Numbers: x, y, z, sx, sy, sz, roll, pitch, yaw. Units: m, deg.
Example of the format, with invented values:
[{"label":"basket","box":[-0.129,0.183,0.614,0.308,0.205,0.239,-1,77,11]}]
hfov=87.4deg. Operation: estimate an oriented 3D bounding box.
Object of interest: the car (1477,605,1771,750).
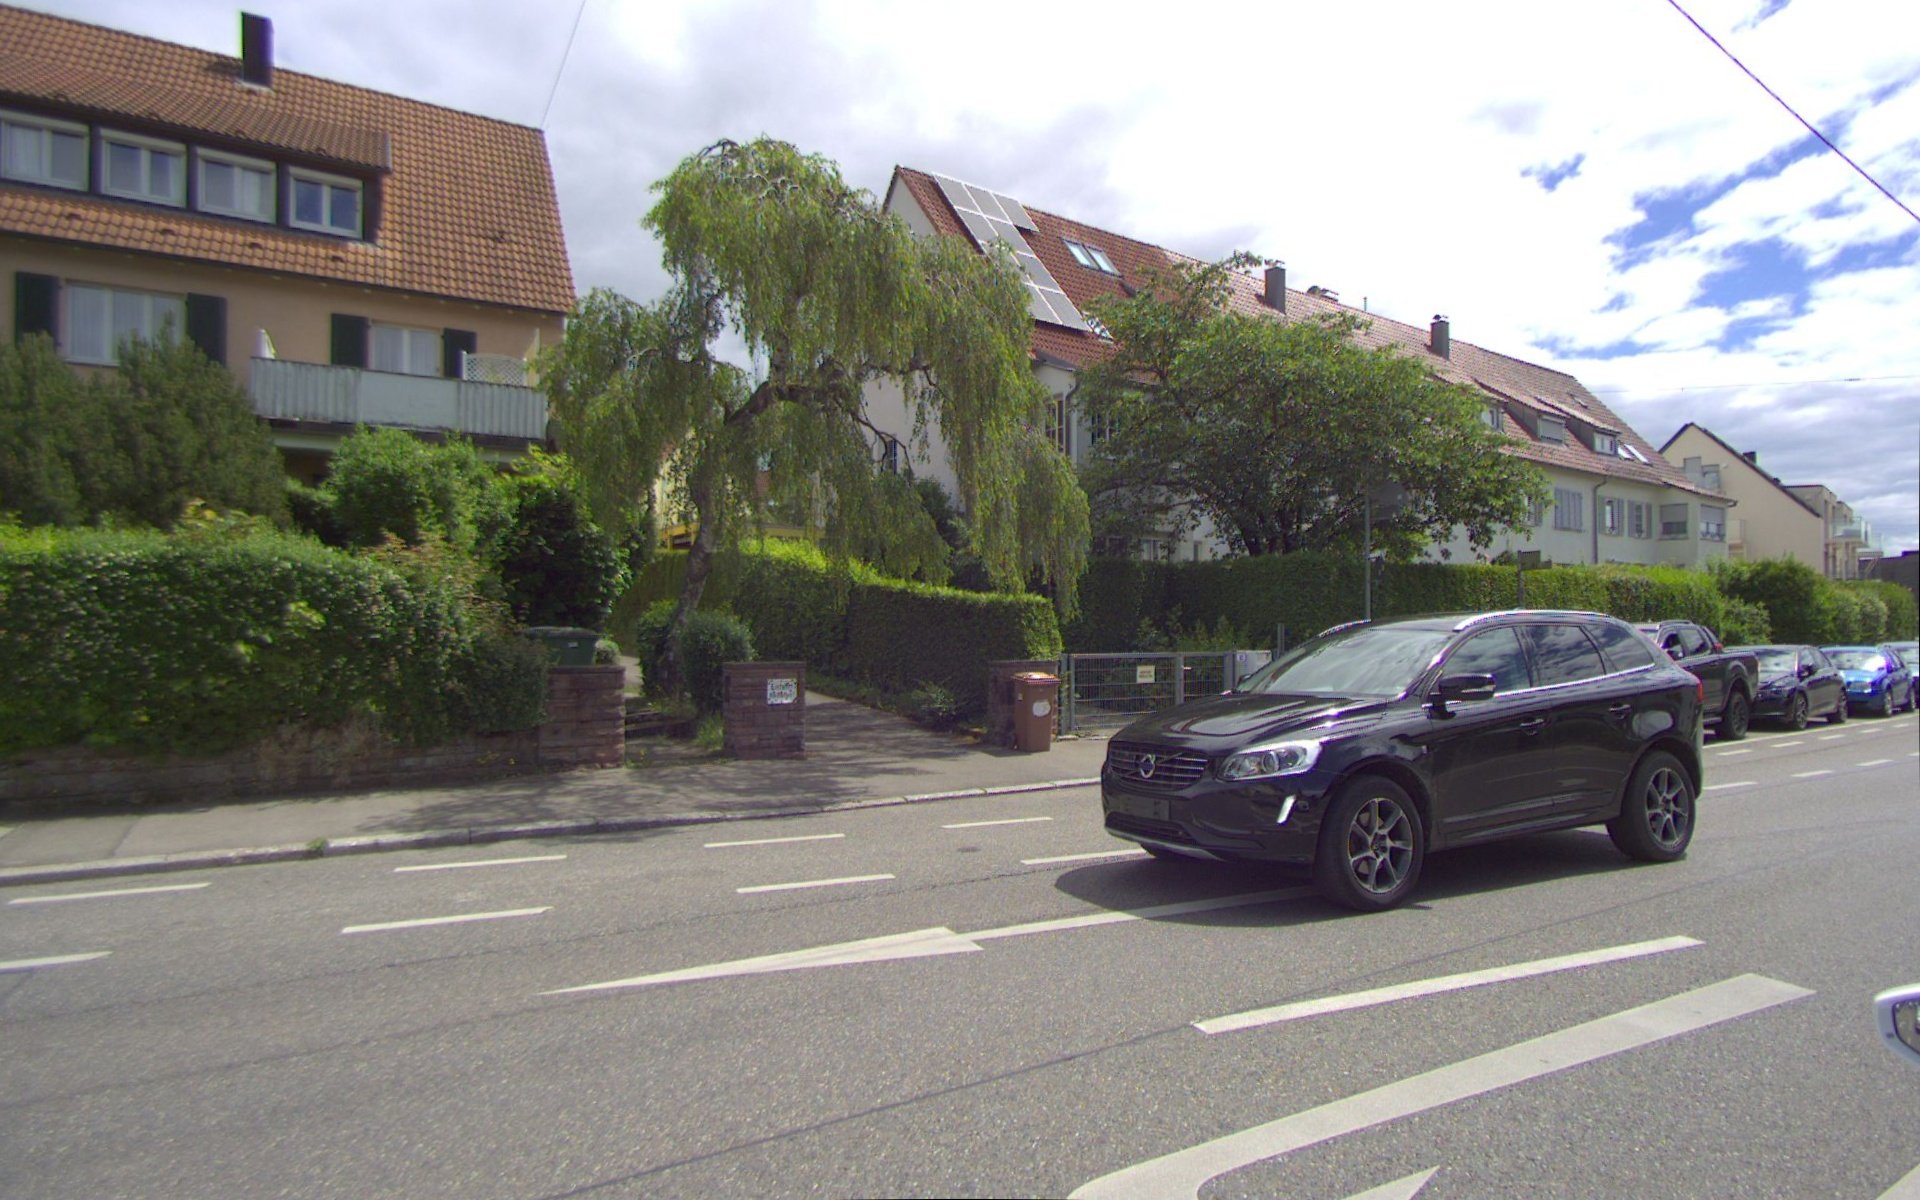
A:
[{"label":"car","box":[10.429,1.141,15.623,5.350,1.919,1.981,2,-4,-35]}]

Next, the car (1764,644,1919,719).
[{"label":"car","box":[19.075,1.669,21.615,4.399,1.436,1.765,2,-2,-37]}]

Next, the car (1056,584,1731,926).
[{"label":"car","box":[2.956,0.886,6.792,4.239,1.669,1.910,1,-5,-28]}]

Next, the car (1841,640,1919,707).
[{"label":"car","box":[23.108,1.740,24.537,4.529,1.511,1.763,2,-2,-40]}]

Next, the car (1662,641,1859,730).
[{"label":"car","box":[14.821,1.497,18.540,4.297,1.436,1.766,2,-2,-36]}]

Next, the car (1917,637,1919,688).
[{"label":"car","box":[31.879,1.963,31.444,4.644,1.584,1.980,2,-2,-36]}]

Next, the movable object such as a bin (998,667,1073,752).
[{"label":"movable object such as a bin","box":[0.923,1.329,12.339,0.638,0.957,0.673,1,0,-32]}]

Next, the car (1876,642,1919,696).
[{"label":"car","box":[27.458,1.903,27.985,4.644,1.427,1.980,2,-2,-36]}]

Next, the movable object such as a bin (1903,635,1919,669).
[{"label":"movable object such as a bin","box":[43.433,2.355,45.369,1.204,1.501,1.056,2,-2,-40]}]
